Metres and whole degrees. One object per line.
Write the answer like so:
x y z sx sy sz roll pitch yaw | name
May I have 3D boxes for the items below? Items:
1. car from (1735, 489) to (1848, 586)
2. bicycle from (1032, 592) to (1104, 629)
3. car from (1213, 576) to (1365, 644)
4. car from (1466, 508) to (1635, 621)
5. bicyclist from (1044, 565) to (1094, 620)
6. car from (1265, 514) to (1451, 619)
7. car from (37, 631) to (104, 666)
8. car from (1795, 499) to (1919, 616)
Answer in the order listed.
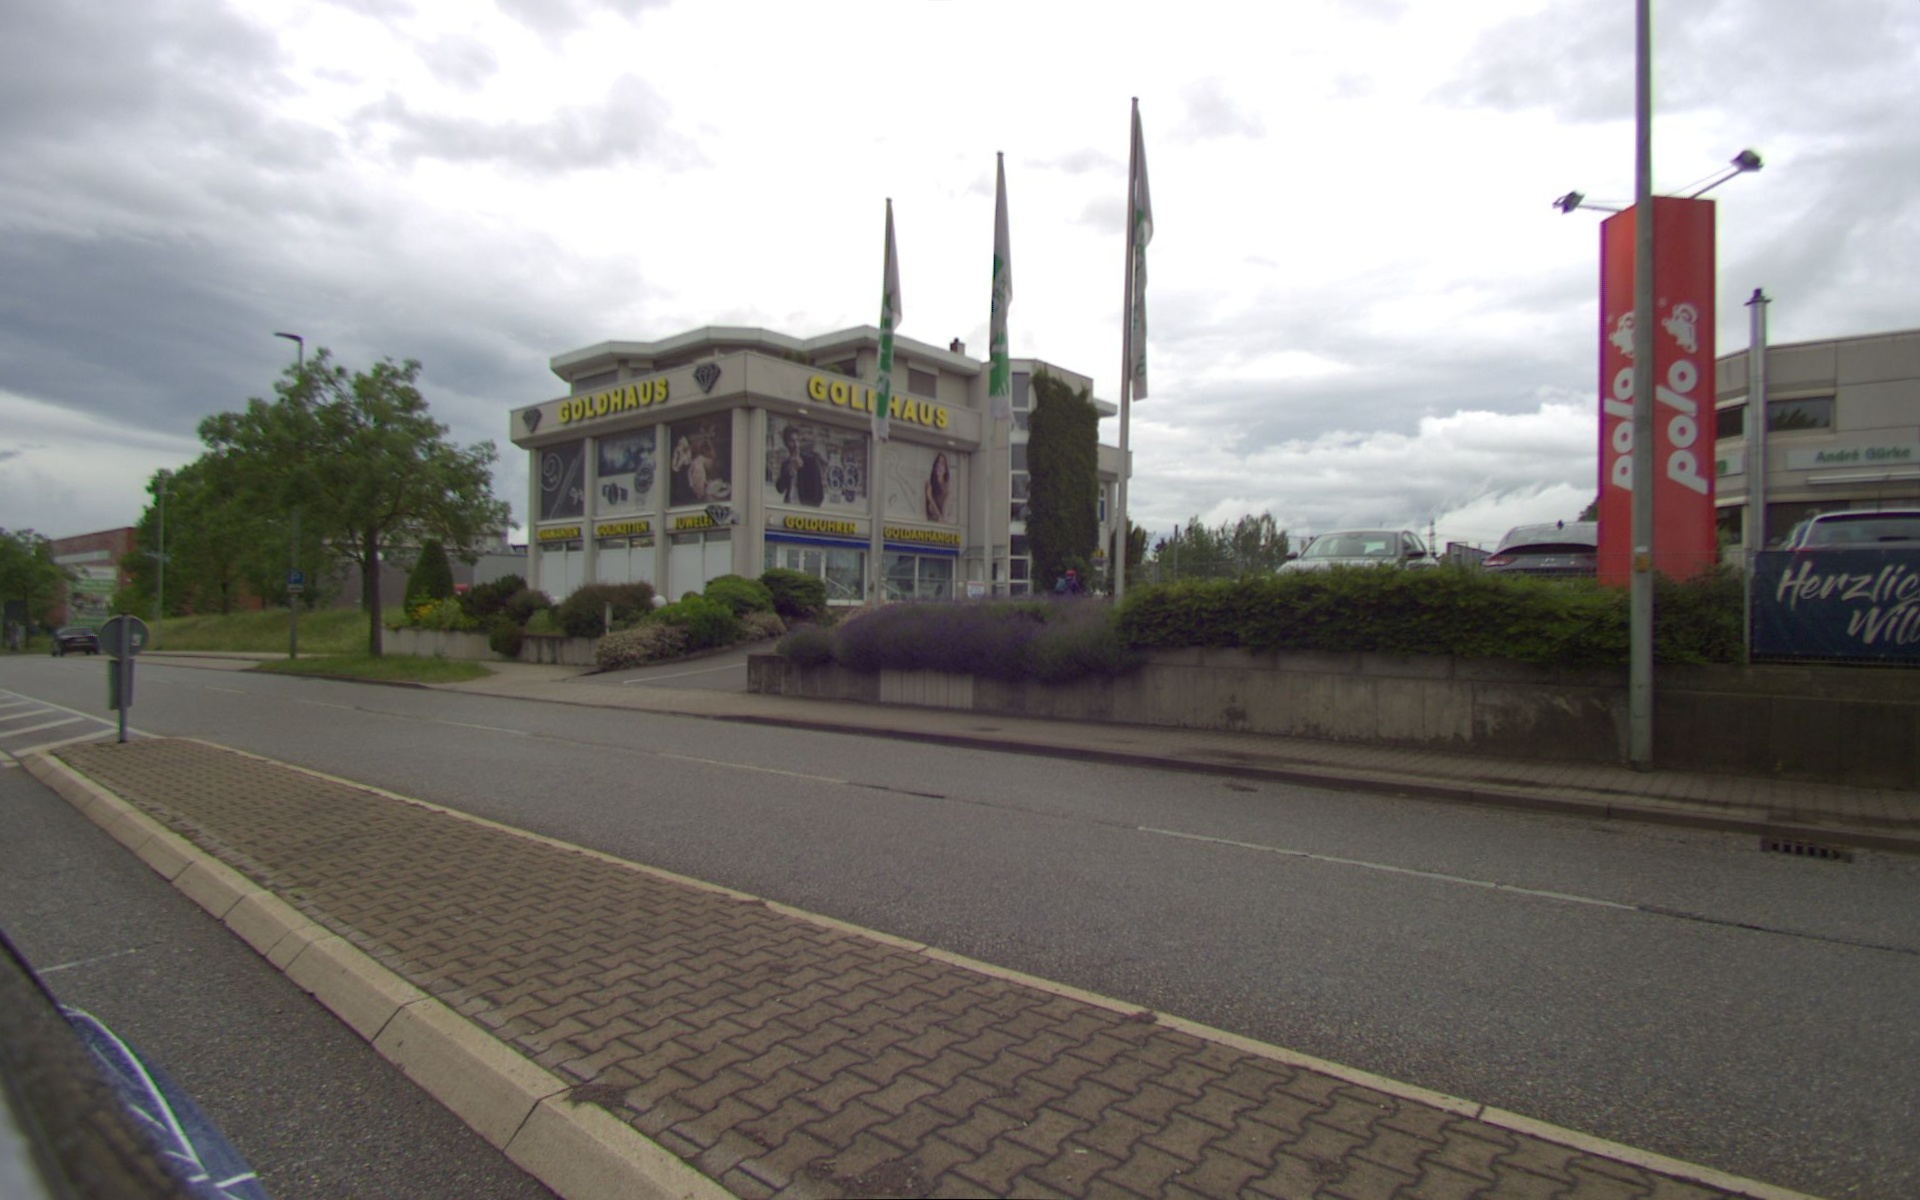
15.095 -1.054 18.447 1.452 1.484 3.353 -1 -2 38 | car
3.047 0.288 28.350 0.909 0.820 2.264 -1 4 39 | bicycle
8.329 0.275 25.750 3.384 1.608 1.511 -1 -2 41 | car
7.853 -0.364 13.348 1.452 1.287 3.353 -1 -2 38 | car
3.057 -0.217 28.358 0.909 1.453 1.014 -1 4 39 | bicyclist
5.863 -0.397 14.742 1.454 1.347 3.350 -1 -2 42 | car
-51.054 2.804 58.045 4.542 1.905 2.320 -4 -4 41 | car
10.727 -0.414 11.782 1.452 1.176 3.353 -1 -2 38 | car
